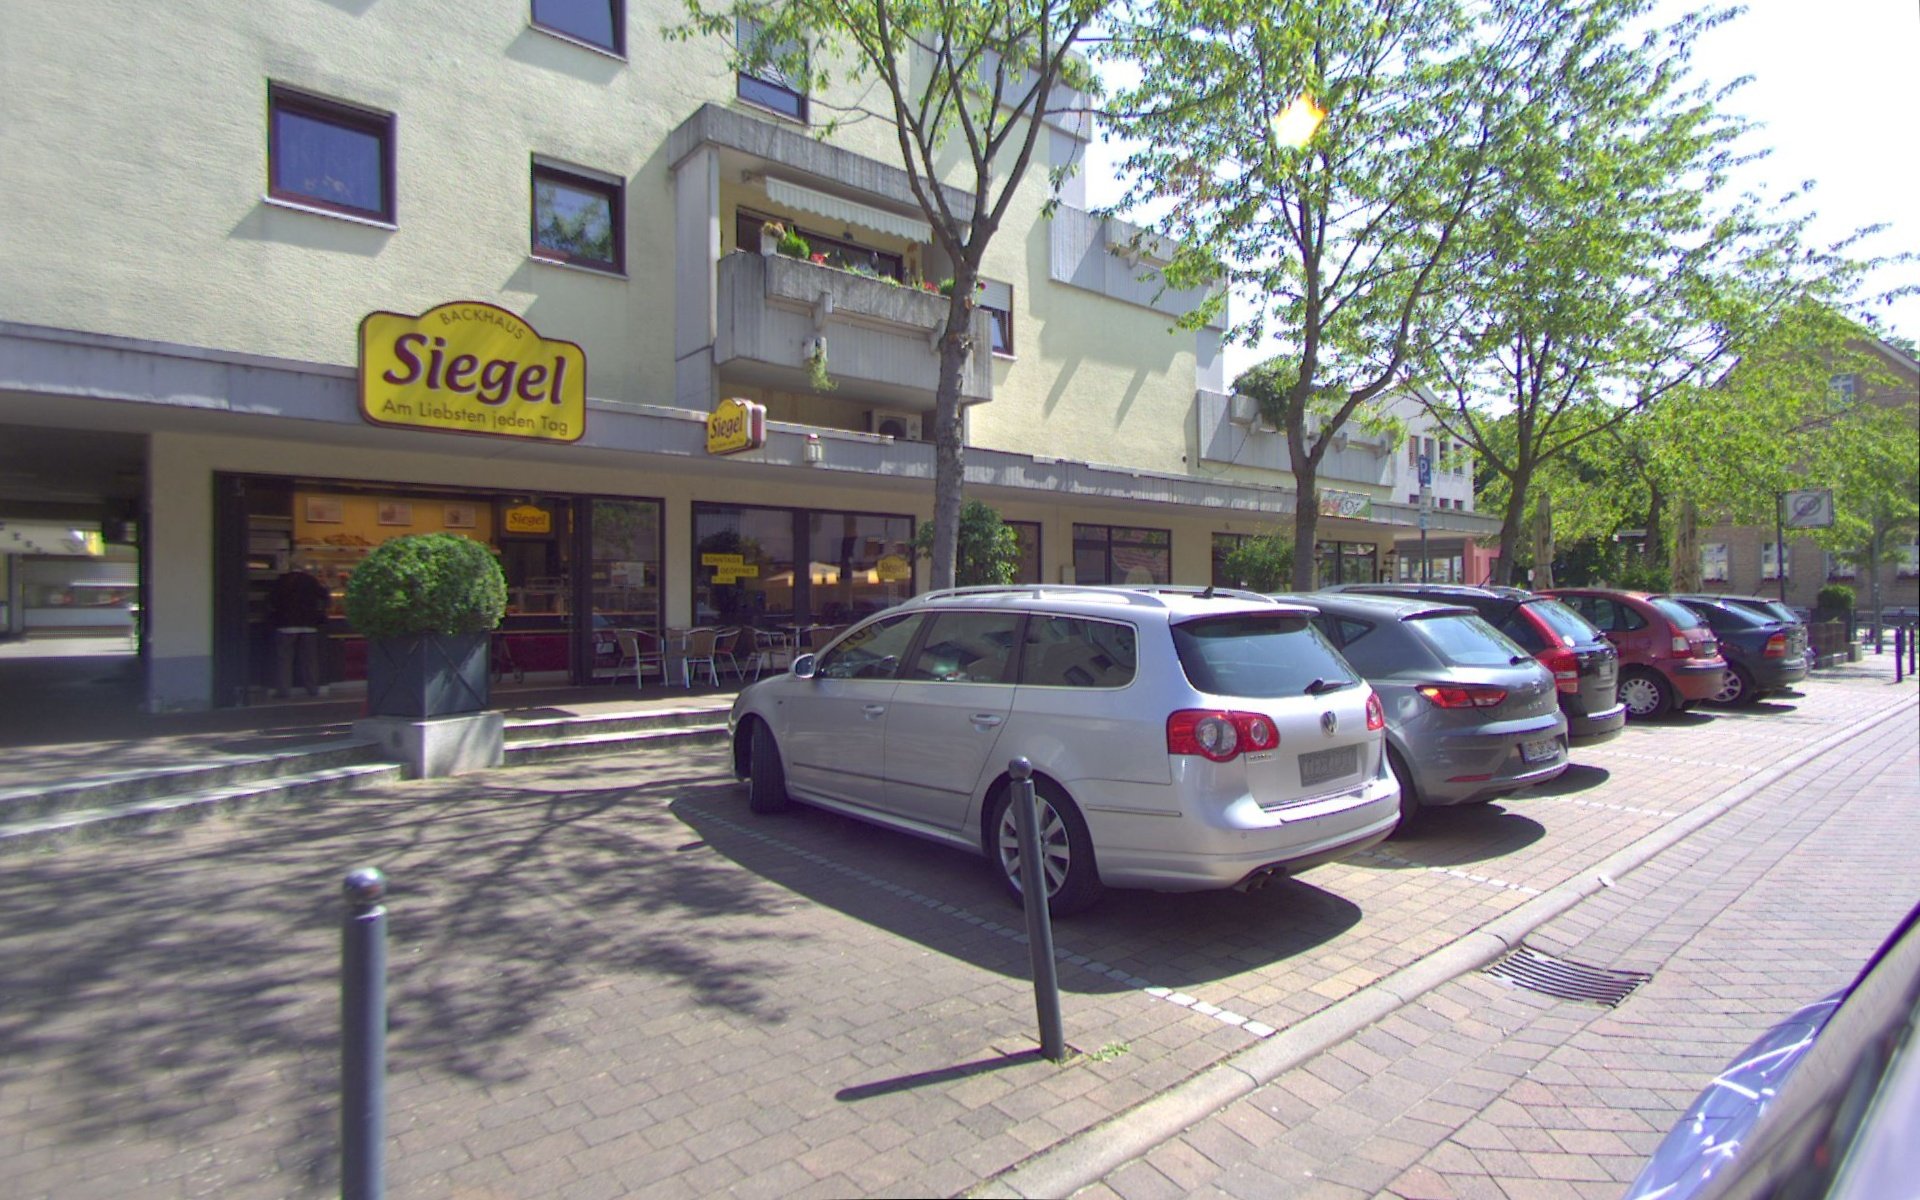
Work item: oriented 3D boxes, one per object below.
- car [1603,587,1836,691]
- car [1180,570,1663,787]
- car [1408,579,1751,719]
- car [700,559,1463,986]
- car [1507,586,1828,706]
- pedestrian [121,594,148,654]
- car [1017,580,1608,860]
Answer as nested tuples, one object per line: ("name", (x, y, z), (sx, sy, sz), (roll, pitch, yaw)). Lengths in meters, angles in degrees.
("car", (11.761, 0.557, 15.764), (1.246, 1.464, 2.701), (0, 0, -40))
("car", (3.961, 0.514, 9.154), (1.604, 1.536, 3.651), (0, 2, -40))
("car", (7.679, 0.497, 12.776), (1.493, 1.482, 3.400), (0, 2, -40))
("car", (0.277, 0.602, 6.044), (1.775, 1.563, 4.584), (-1, 1, -40))
("car", (9.709, 0.534, 14.084), (1.434, 1.407, 3.400), (0, 2, -40))
("pedestrian", (-20.228, 0.589, 24.802), (0.470, 1.443, 0.413), (-1, 0, -45))
("car", (2.288, 0.604, 7.370), (1.585, 1.449, 3.799), (0, 2, -40))
